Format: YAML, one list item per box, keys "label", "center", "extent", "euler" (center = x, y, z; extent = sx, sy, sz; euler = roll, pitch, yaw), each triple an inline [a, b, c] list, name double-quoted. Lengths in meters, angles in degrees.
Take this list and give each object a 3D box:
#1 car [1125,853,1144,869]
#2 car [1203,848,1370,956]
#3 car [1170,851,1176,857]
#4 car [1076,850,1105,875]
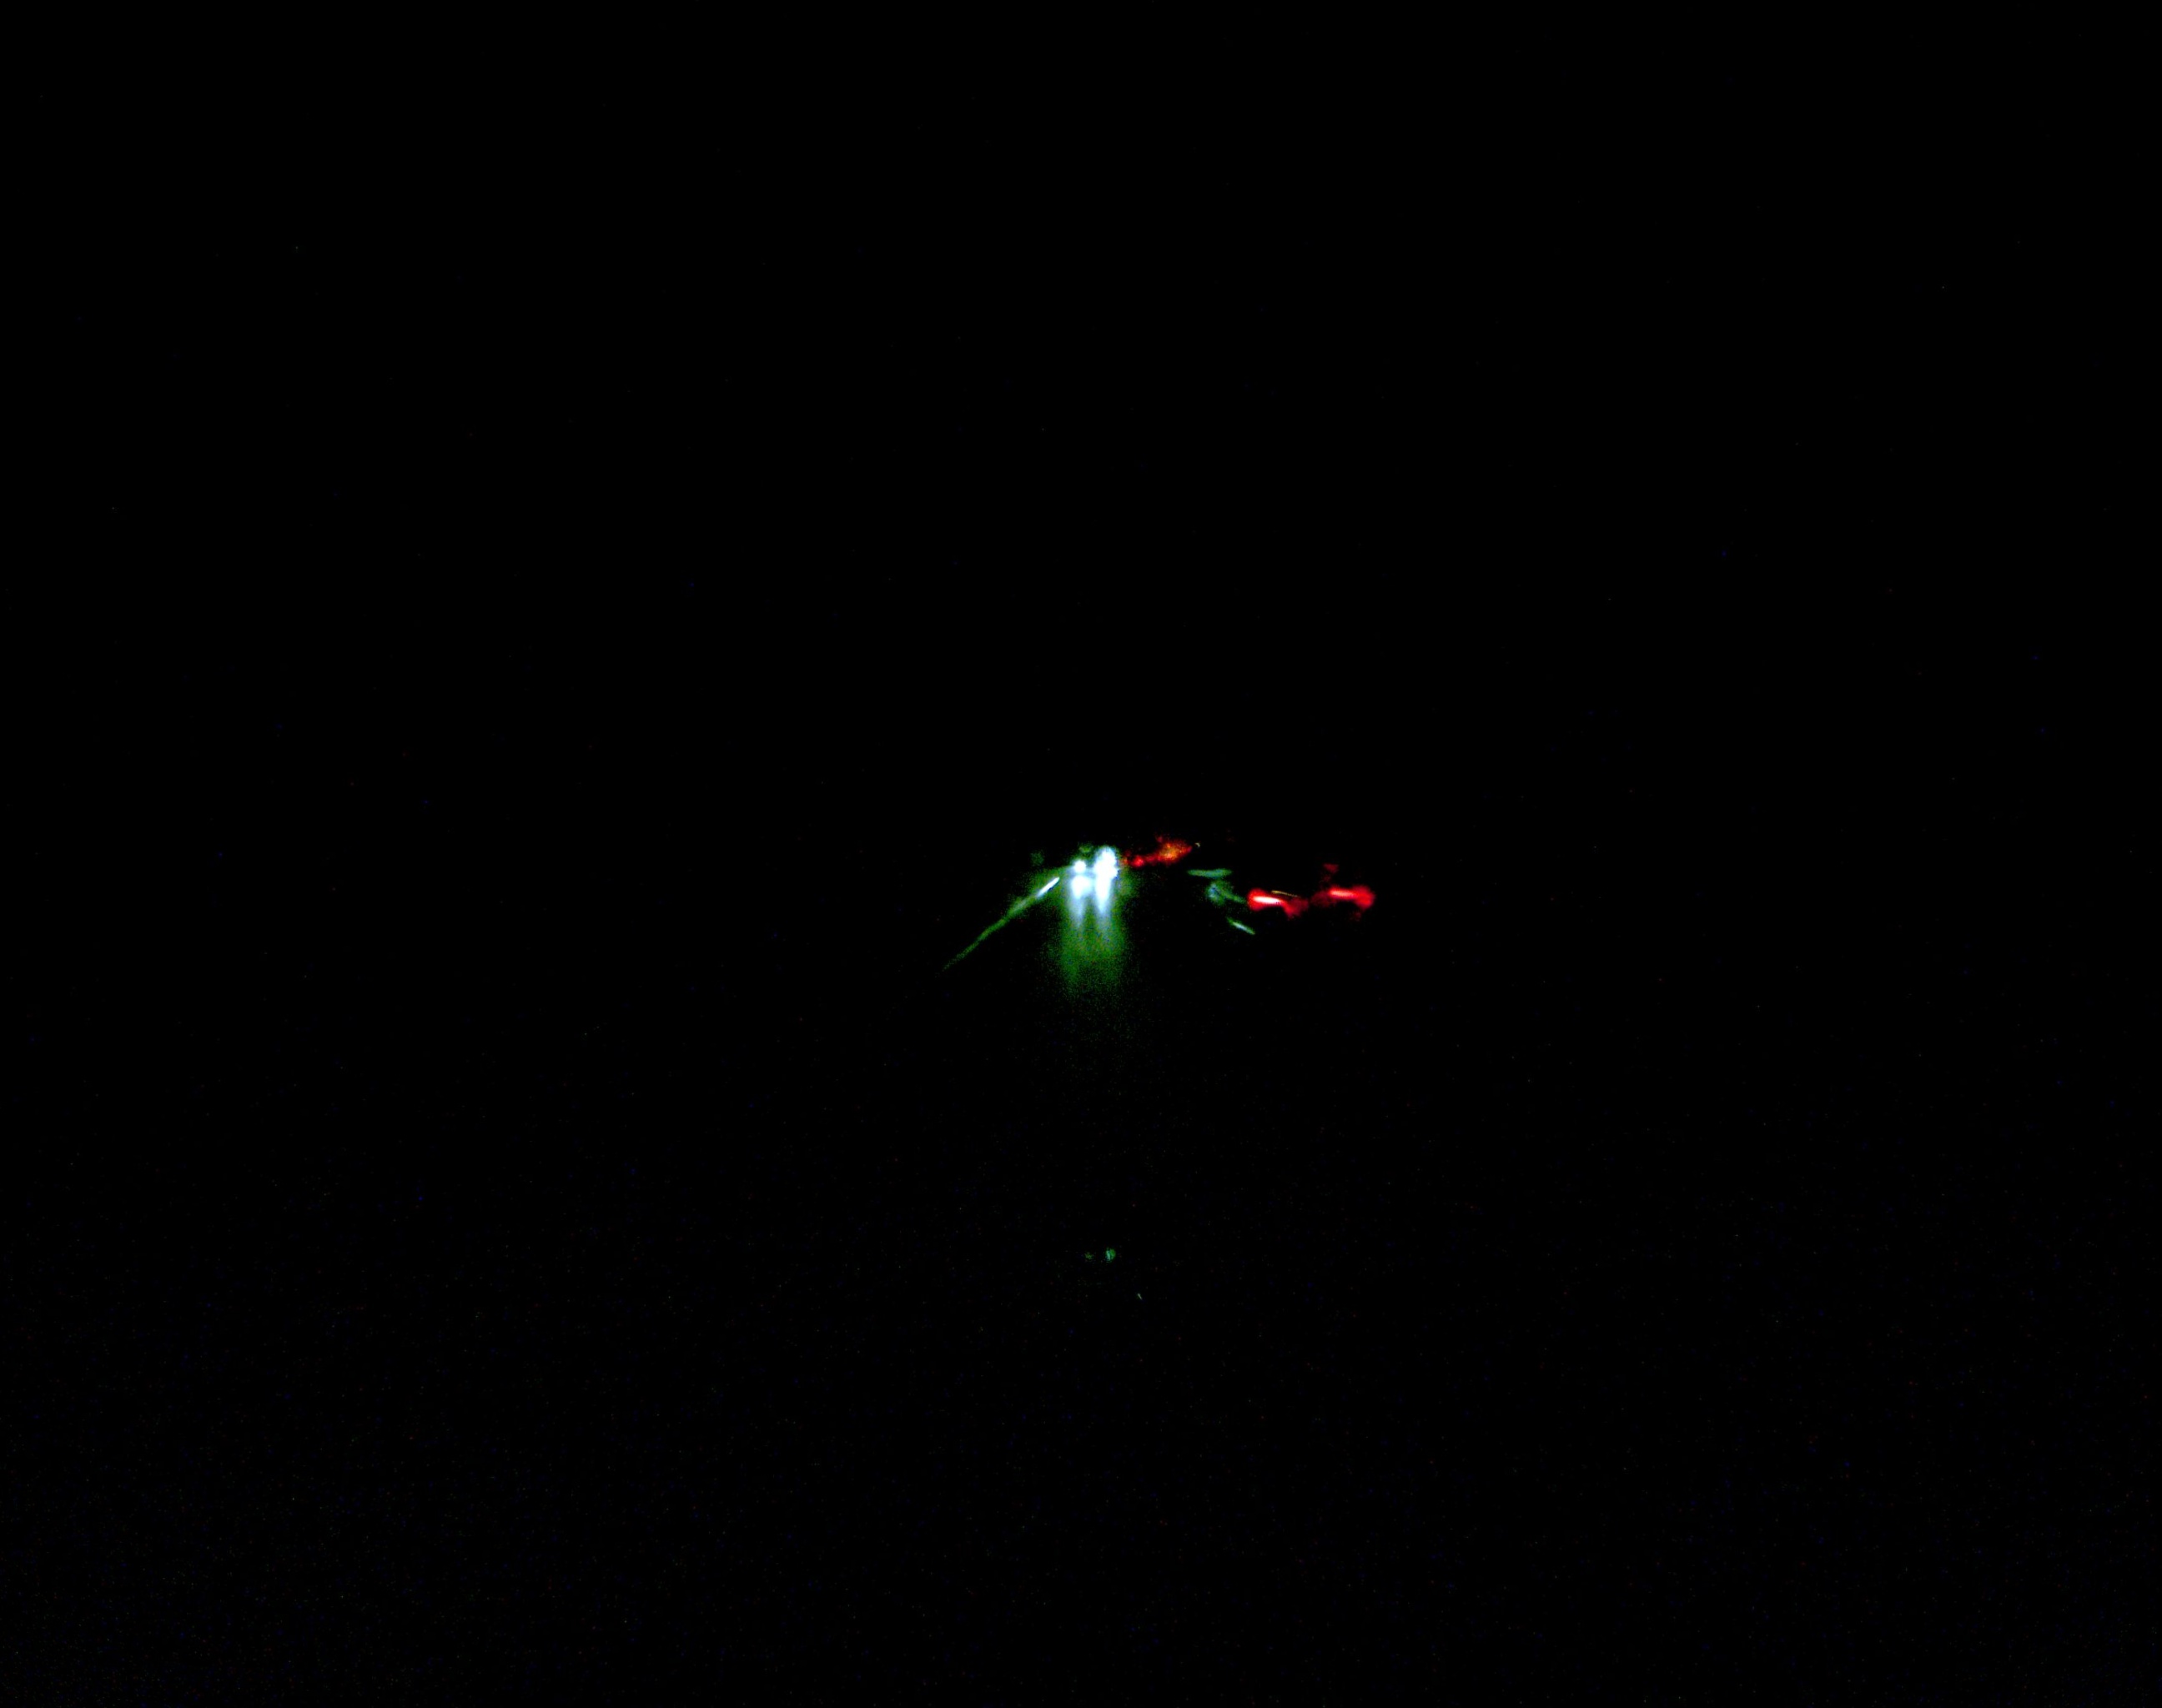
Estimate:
- label: "car"
  center: [5.346, 0.662, 75.810]
  extent: [1.726, 1.603, 4.002]
  euler: [-1, 0, 1]
- label: "car"
  center: [3.501, 0.748, 13.909]
  extent: [1.813, 1.591, 4.631]
  euler: [-2, 0, 1]
- label: "car"
  center: [28.955, 0.026, 238.243]
  extent: [1.834, 1.545, 4.444]
  euler: [-1, 0, 8]
- label: "car"
  center: [0.770, 0.634, 58.431]
  extent: [1.998, 1.804, 4.001]
  euler: [0, 0, 4]
